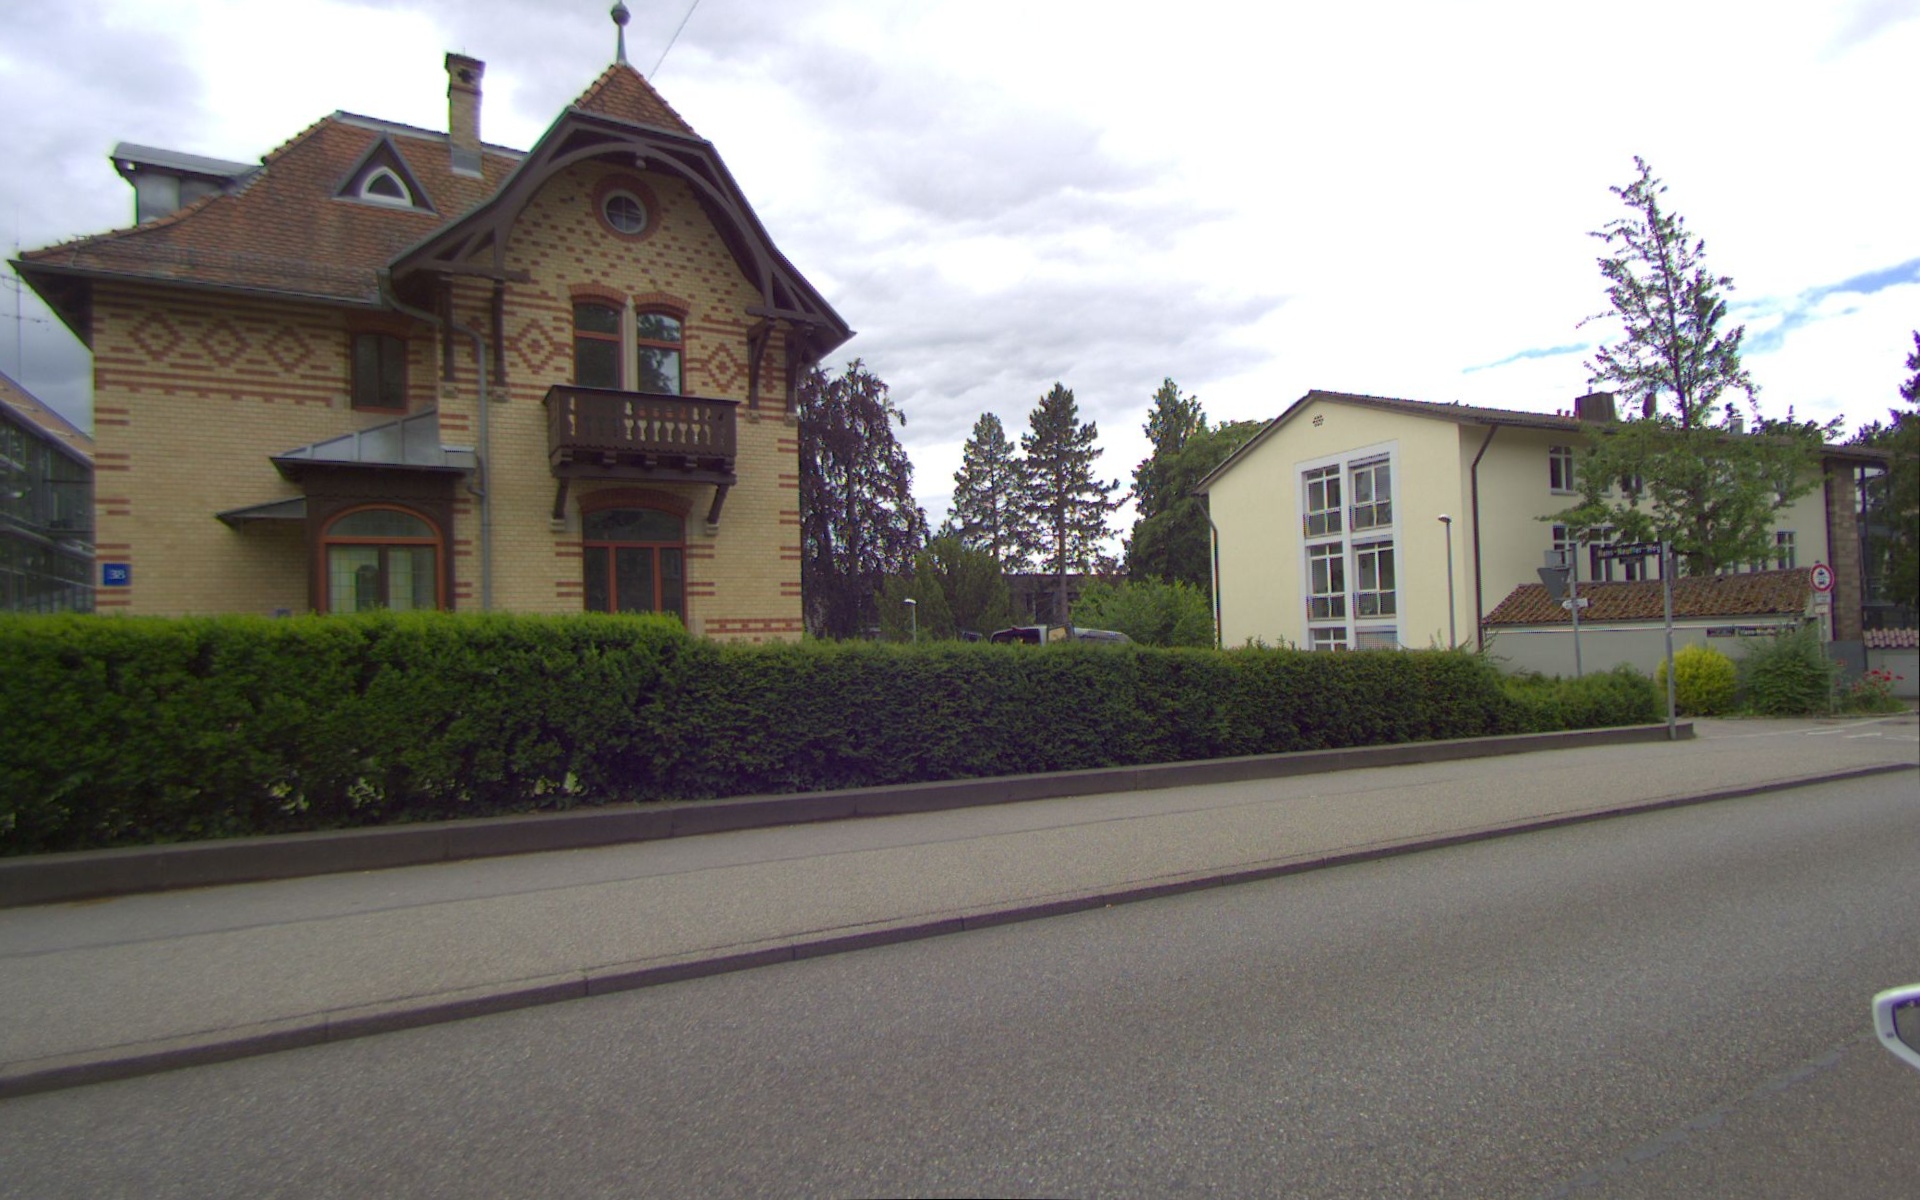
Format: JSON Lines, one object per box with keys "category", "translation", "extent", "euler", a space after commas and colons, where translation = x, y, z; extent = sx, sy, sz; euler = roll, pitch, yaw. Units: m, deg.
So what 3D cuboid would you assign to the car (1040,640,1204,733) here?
{"category": "car", "translation": [3.363, 1.687, 20.516], "extent": [1.665, 1.616, 3.488], "euler": [1, 0, 43]}
